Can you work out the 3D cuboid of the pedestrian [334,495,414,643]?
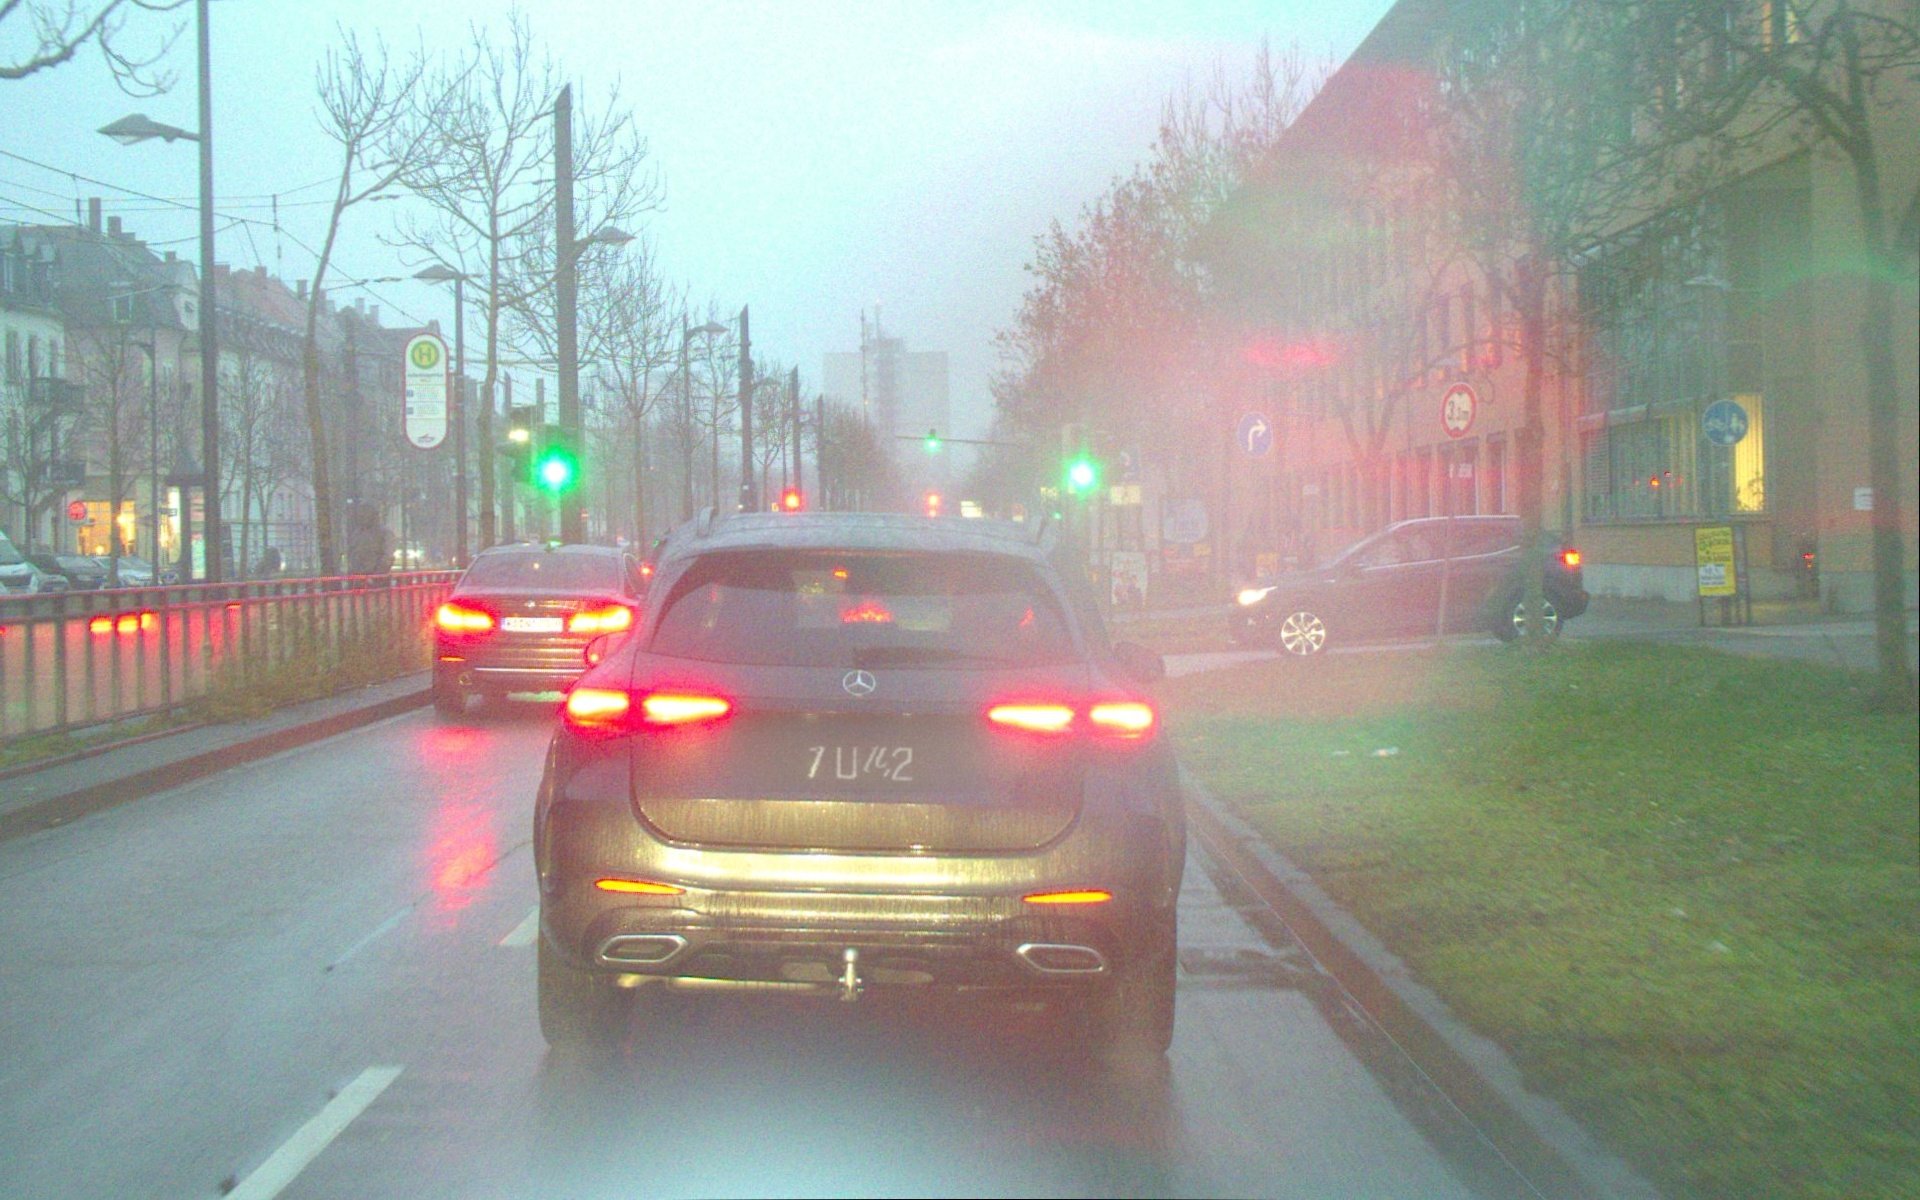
[{"bbox_3d":[-6.245,-0.338,36.656,0.699,1.547,0.669,-2,1,0],"label":"pedestrian"}]

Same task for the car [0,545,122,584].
[{"bbox_3d":[-29.562,-1.155,112.536,3.774,1.152,1.649,-2,1,5],"label":"car"}]

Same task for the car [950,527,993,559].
[{"bbox_3d":[0.551,-2.797,168.751,1.993,1.474,4.000,-2,1,-1],"label":"car"}]

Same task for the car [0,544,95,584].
[{"bbox_3d":[-28.853,-1.093,106.141,3.774,1.152,1.649,-2,1,5],"label":"car"}]

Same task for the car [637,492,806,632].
[{"bbox_3d":[-3.172,-0.542,46.372,1.993,1.759,4.000,-1,1,-1],"label":"car"}]

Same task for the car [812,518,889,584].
[{"bbox_3d":[-3.005,-1.369,95.119,1.993,1.699,4.000,-2,1,-1],"label":"car"}]

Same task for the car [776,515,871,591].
[{"bbox_3d":[-3.022,-1.065,76.879,1.993,1.612,4.000,-1,1,-1],"label":"car"}]

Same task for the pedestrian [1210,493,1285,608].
[{"bbox_3d":[4.071,-0.698,48.651,0.903,1.590,0.501,-1,1,42],"label":"pedestrian"}]

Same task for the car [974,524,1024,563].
[{"bbox_3d":[1.661,-2.460,148.340,1.993,1.593,4.000,-2,1,-1],"label":"car"}]

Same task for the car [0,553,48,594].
[{"bbox_3d":[-28.590,-0.724,99.632,3.774,1.152,1.649,-2,1,5],"label":"car"}]

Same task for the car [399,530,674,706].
[{"bbox_3d":[-3.663,0.106,30.388,1.993,1.393,4.000,-1,1,-1],"label":"car"}]

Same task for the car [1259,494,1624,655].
[{"bbox_3d":[5.441,-0.309,39.183,3.860,1.555,1.765,-4,1,1],"label":"car"}]

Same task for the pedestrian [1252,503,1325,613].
[{"bbox_3d":[4.850,-0.618,50.794,0.903,1.590,0.501,-1,1,42],"label":"pedestrian"}]

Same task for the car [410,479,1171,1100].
[{"bbox_3d":[-0.451,0.461,11.171,1.991,1.610,4.000,-1,1,0],"label":"car"}]
